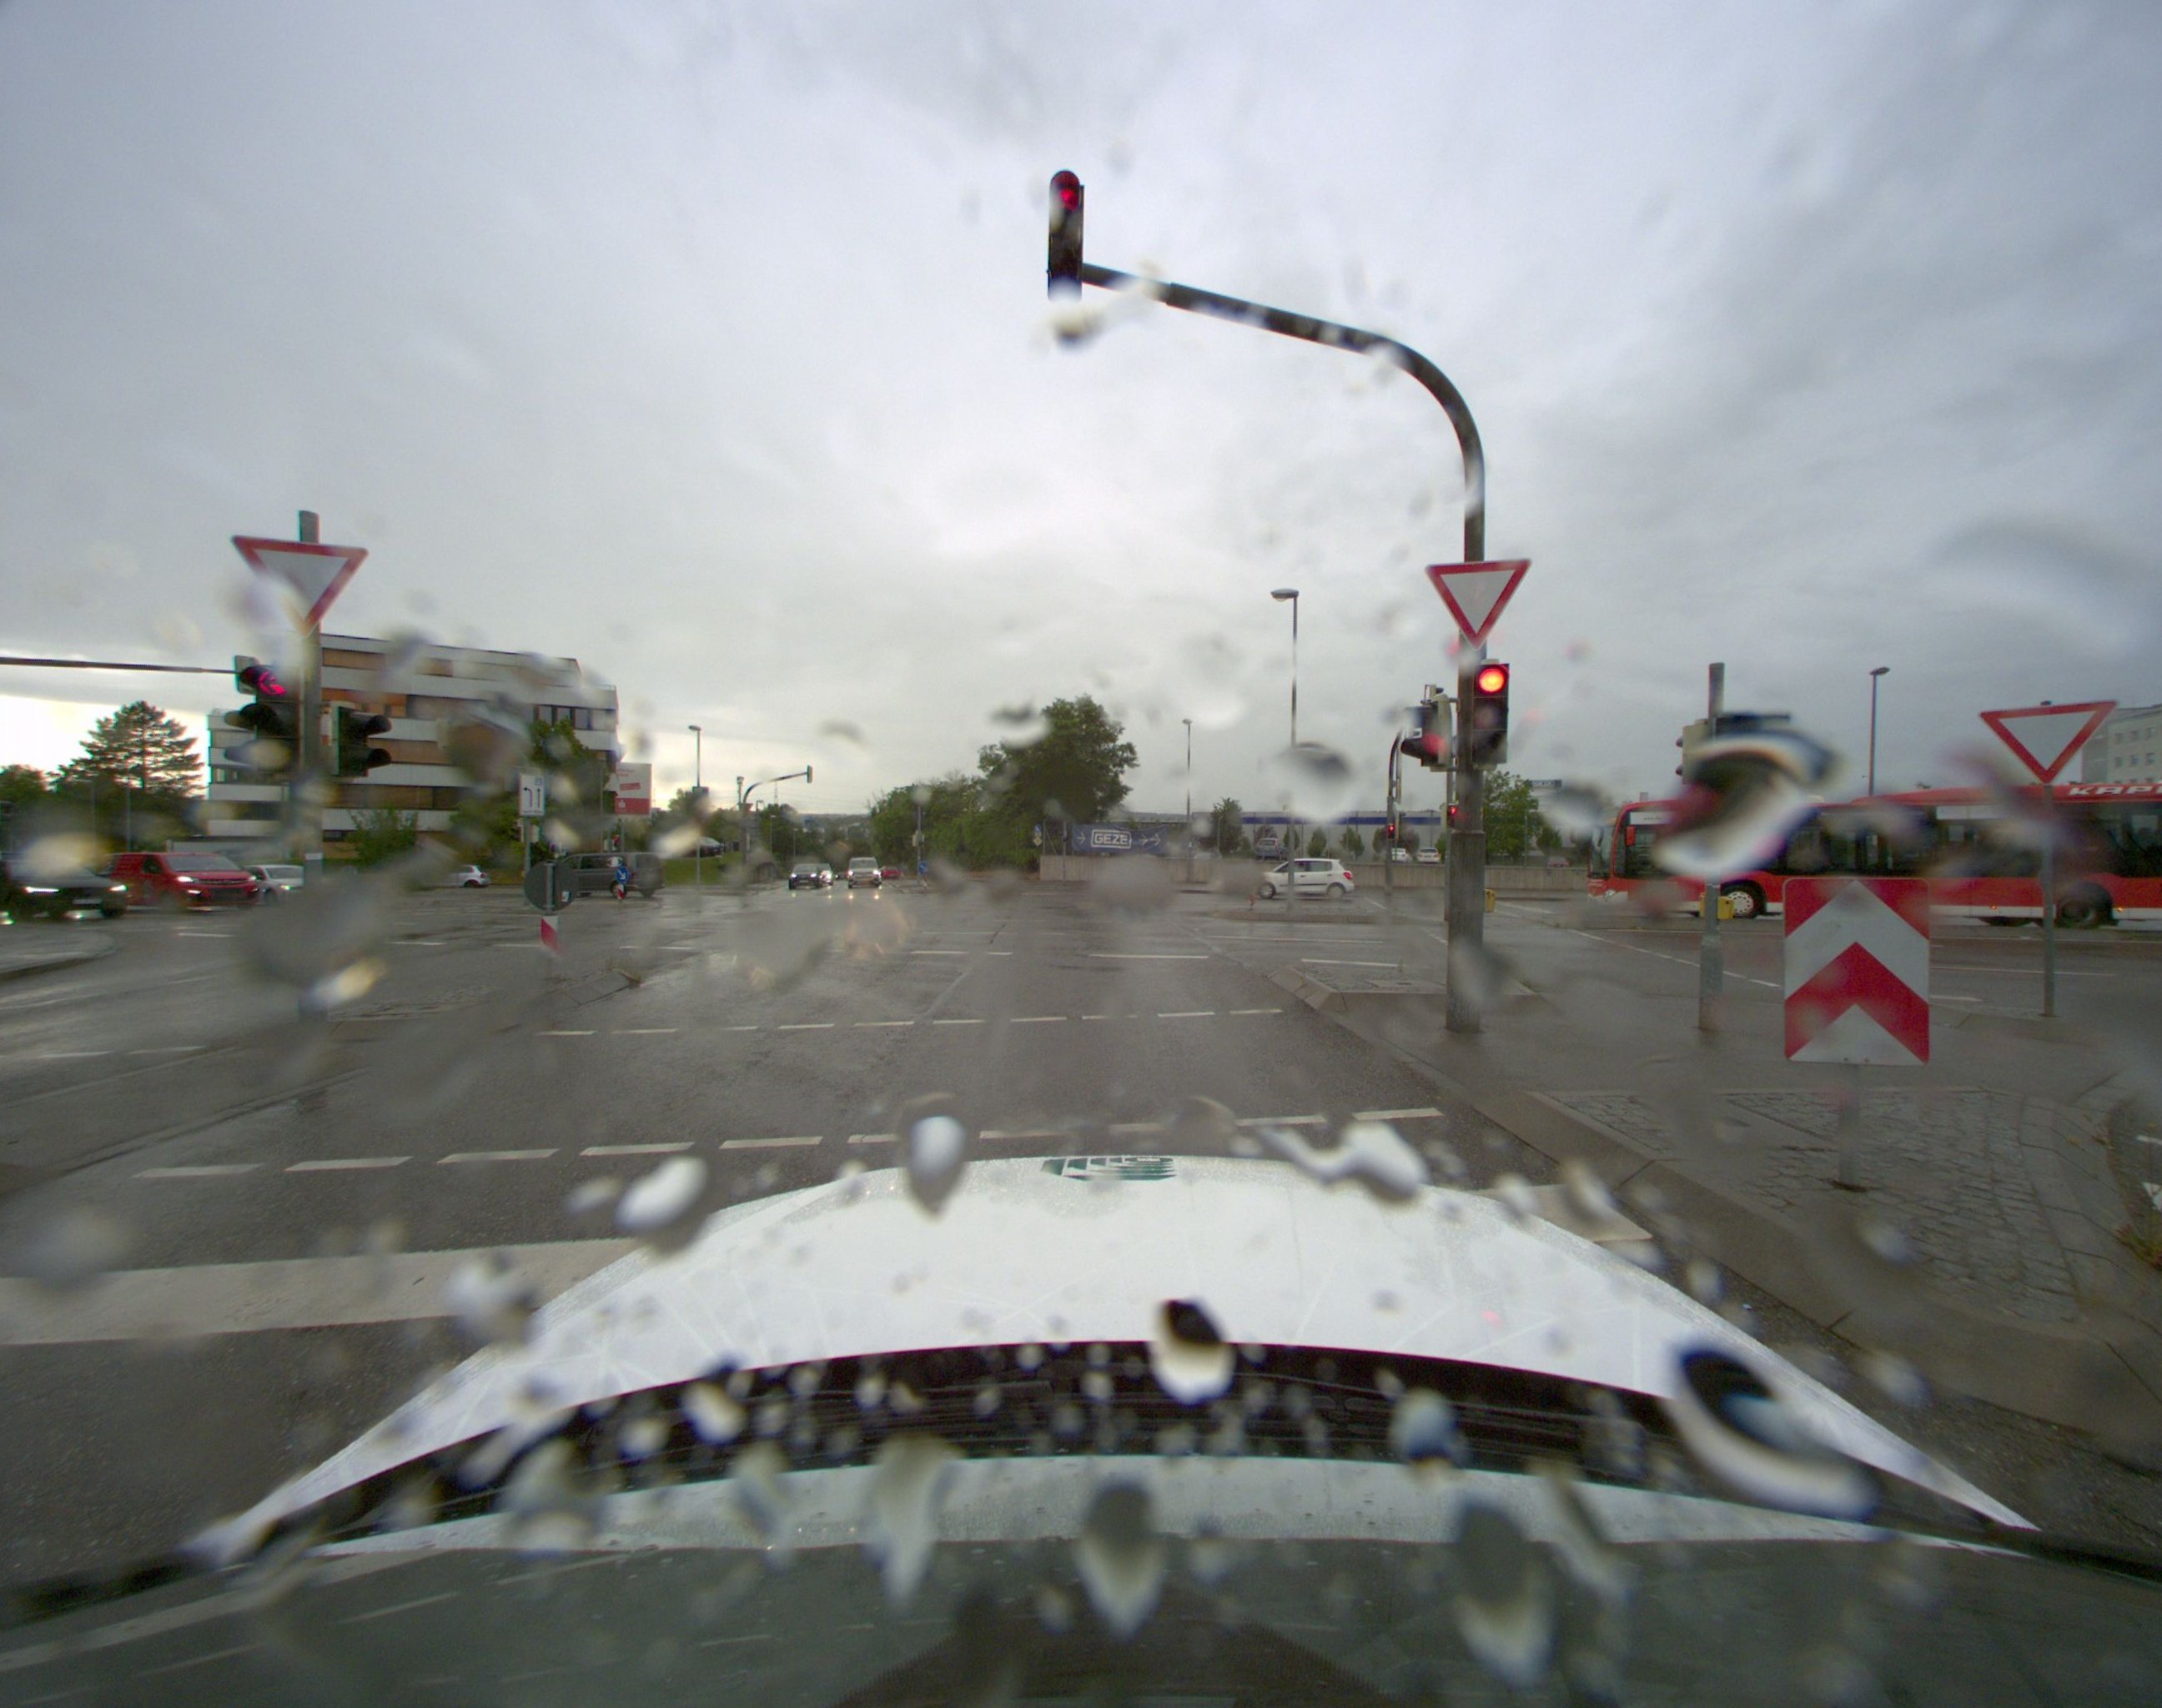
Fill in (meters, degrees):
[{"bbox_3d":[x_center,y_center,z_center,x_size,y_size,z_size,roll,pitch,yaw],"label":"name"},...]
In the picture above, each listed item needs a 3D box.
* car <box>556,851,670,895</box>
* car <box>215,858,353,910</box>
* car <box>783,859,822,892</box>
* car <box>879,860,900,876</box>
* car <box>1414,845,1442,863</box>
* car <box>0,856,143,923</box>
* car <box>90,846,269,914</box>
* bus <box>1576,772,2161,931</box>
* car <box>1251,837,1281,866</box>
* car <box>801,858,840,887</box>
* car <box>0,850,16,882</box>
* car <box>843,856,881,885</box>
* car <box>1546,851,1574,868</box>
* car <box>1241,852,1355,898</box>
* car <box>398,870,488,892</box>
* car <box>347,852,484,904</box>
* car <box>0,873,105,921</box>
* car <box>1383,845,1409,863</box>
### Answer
[{"bbox_3d":[-20.593,0.802,35.908,3.962,1.848,2.006,0,0,10],"label":"car"},{"bbox_3d":[-28.297,1.025,28.941,3.953,1.684,2.010,0,0,21],"label":"car"},{"bbox_3d":[-16.839,1.255,49.348,1.998,1.895,3.978,0,0,-16],"label":"car"},{"bbox_3d":[-19.491,1.443,82.675,1.620,1.448,3.782,1,1,-20],"label":"car"},{"bbox_3d":[28.825,-0.022,67.719,1.976,1.478,4.021,0,0,21],"label":"car"},{"bbox_3d":[-28.565,0.936,22.355,4.579,1.679,2.044,-1,0,18],"label":"car"},{"bbox_3d":[-28.610,0.769,25.860,4.733,2.013,2.009,0,0,18],"label":"car"},{"bbox_3d":[19.341,-0.147,19.684,12.177,3.321,3.090,1,1,19],"label":"bus"},{"bbox_3d":[13.218,-0.196,58.121,1.979,2.013,4.015,0,0,13],"label":"car"},{"bbox_3d":[-18.066,1.282,56.693,1.993,1.895,3.987,0,0,-9],"label":"car"},{"bbox_3d":[-70.341,0.761,51.894,4.951,2.013,2.012,0,0,25],"label":"car"},{"bbox_3d":[-13.014,0.966,48.660,1.995,1.618,3.983,0,0,-13],"label":"car"},{"bbox_3d":[42.760,0.493,72.687,1.749,1.479,3.671,0,0,37],"label":"car"},{"bbox_3d":[8.030,0.739,30.153,3.957,1.596,1.965,0,0,16],"label":"car"},{"bbox_3d":[-34.926,1.468,44.690,3.522,1.105,1.805,0,0,-26],"label":"car"},{"bbox_3d":[-24.805,0.849,30.385,4.108,1.840,2.009,0,0,17],"label":"car"},{"bbox_3d":[-36.961,1.457,28.561,4.620,1.476,2.010,0,0,20],"label":"car"},{"bbox_3d":[26.520,-0.034,68.402,1.976,1.478,4.021,0,0,22],"label":"car"}]
